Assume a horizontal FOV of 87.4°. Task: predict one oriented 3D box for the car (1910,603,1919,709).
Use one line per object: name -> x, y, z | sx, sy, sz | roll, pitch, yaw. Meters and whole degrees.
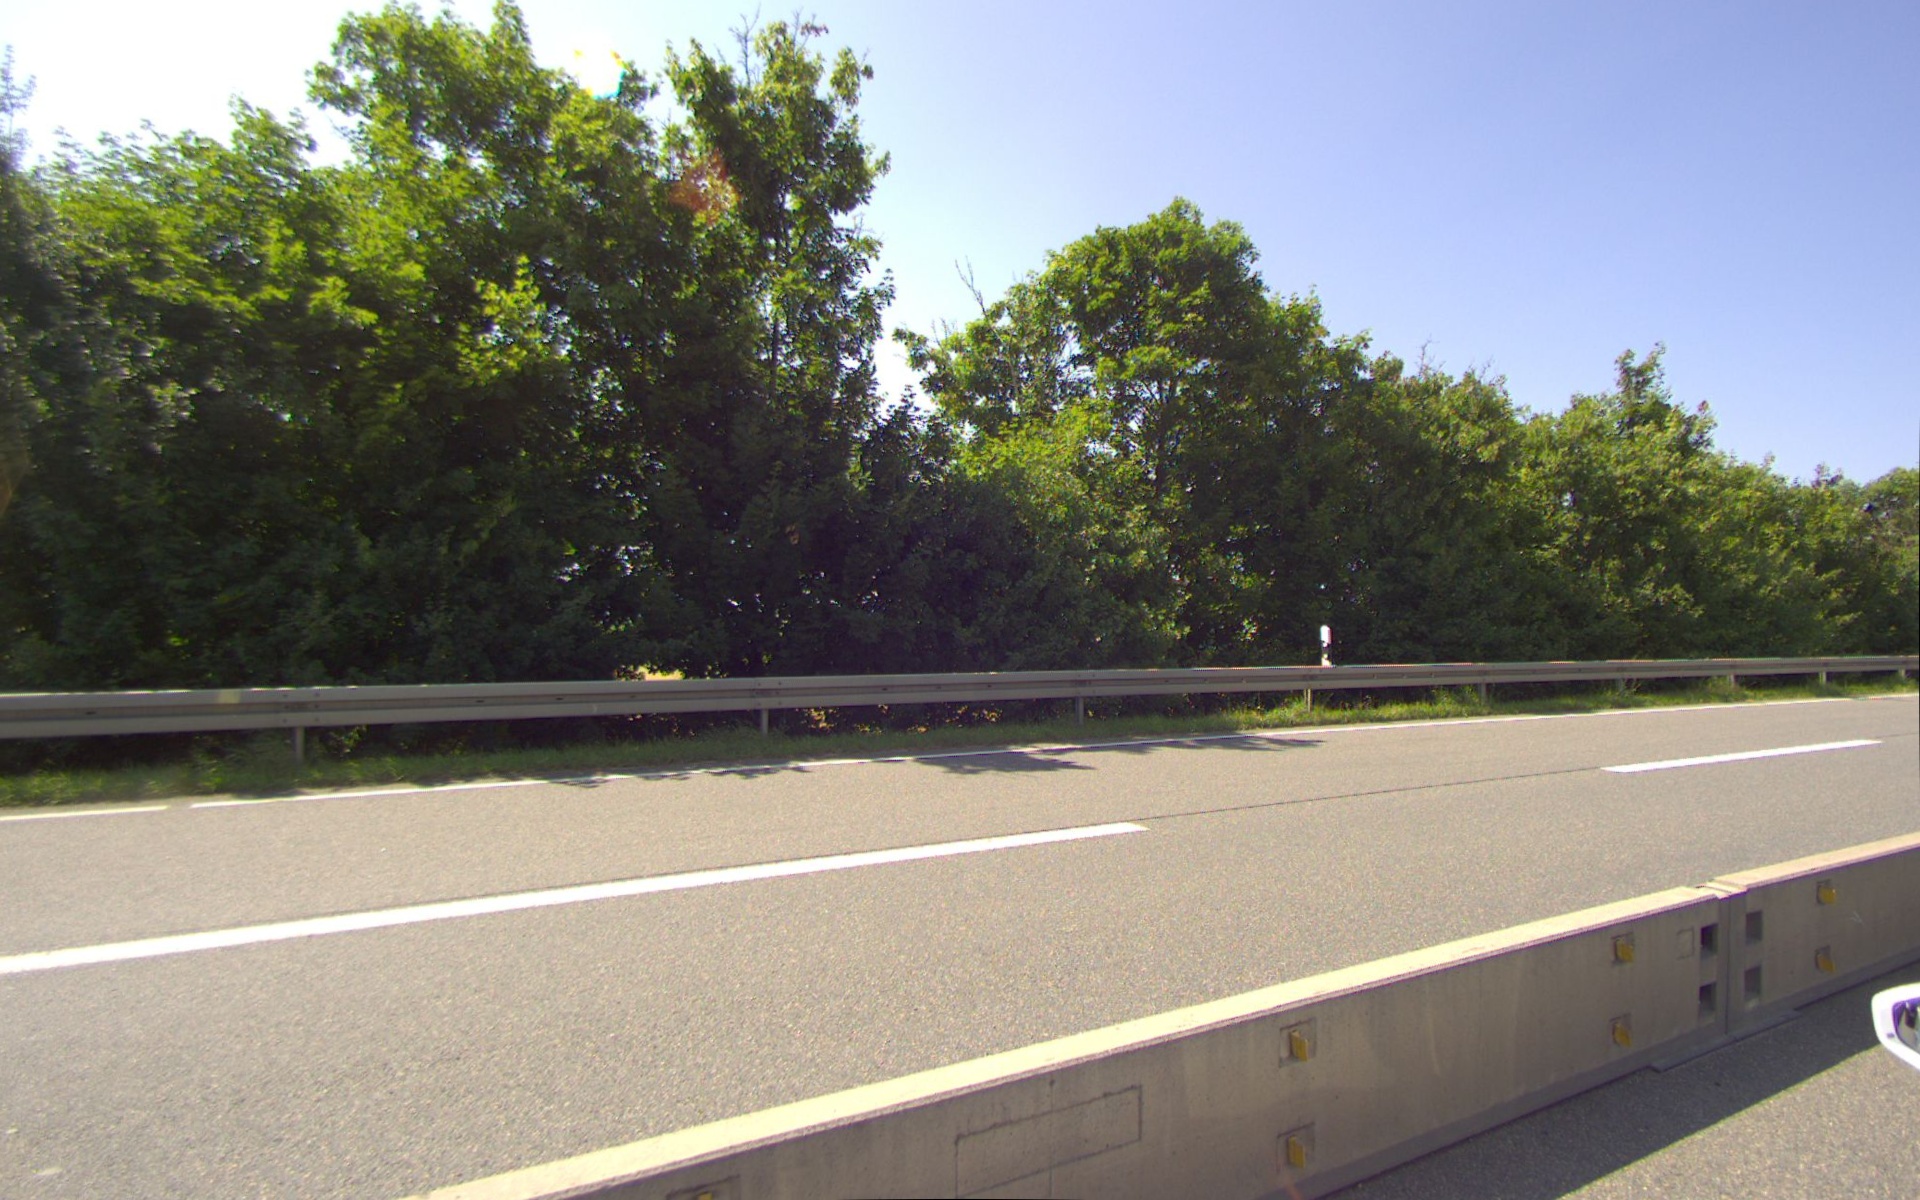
car -> 18.486, 0.981, 17.486 | 4.234, 1.788, 1.747 | 1, -1, -30
